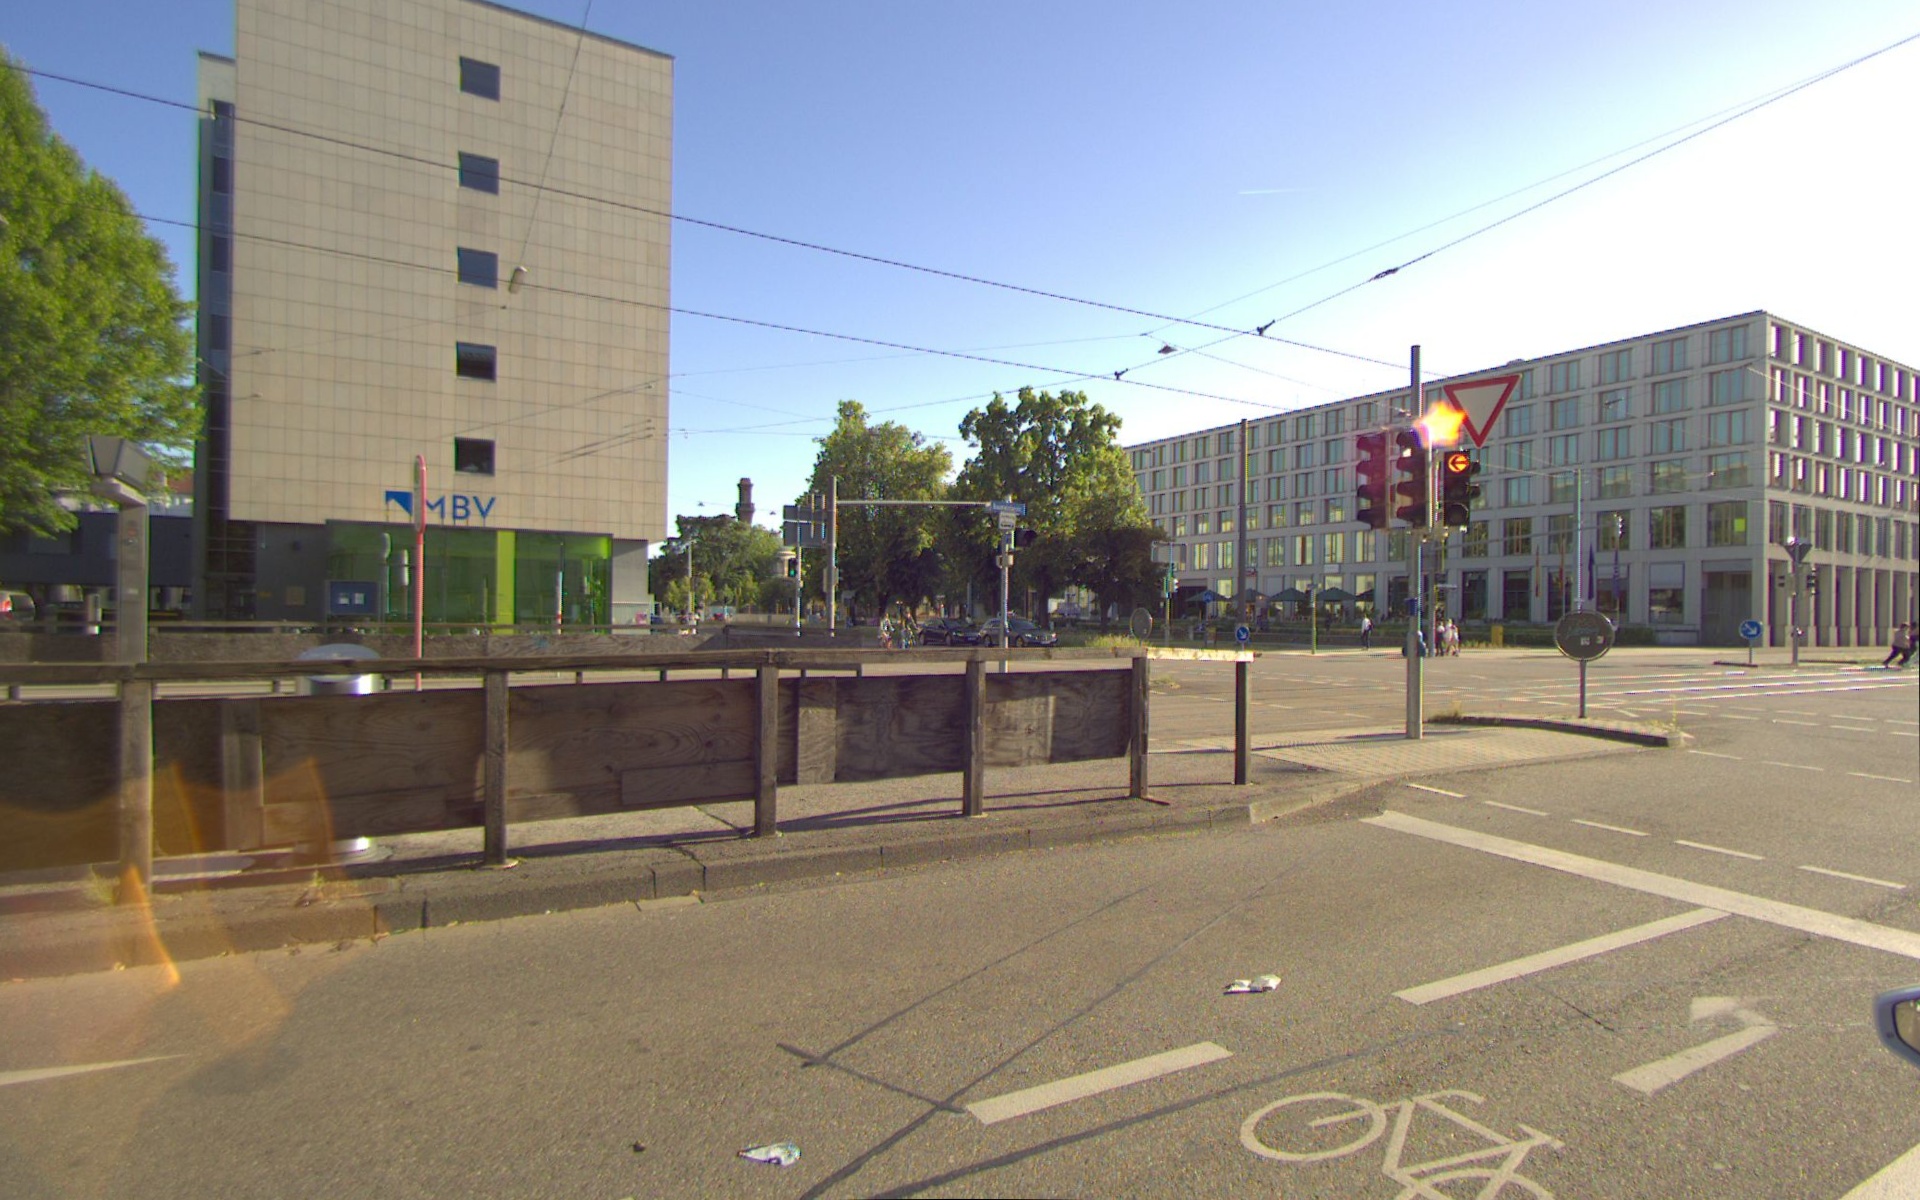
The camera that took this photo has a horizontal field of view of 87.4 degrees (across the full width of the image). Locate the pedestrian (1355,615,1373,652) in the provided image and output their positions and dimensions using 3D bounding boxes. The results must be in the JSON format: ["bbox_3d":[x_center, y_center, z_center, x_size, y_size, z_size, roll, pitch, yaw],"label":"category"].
[{"bbox_3d":[21.200,1.773,52.740,0.672,1.928,0.560,1,-1,-21],"label":"pedestrian"}]

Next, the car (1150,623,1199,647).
[{"bbox_3d":[13.510,2.213,63.282,1.450,1.457,3.177,1,-1,-23],"label":"car"}]

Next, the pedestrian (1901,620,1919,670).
[{"bbox_3d":[33.008,1.554,34.833,0.372,1.685,0.439,1,-1,-30],"label":"pedestrian"}]

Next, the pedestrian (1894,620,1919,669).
[{"bbox_3d":[31.850,1.474,33.419,0.652,1.608,0.980,2,-1,-28],"label":"pedestrian"}]

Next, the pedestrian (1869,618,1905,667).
[{"bbox_3d":[31.980,1.463,34.653,0.526,1.661,0.792,1,-1,-27],"label":"pedestrian"}]

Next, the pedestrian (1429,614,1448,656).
[{"bbox_3d":[23.315,1.688,48.896,0.793,2.040,0.526,1,-1,-36],"label":"pedestrian"}]

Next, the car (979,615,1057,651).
[{"bbox_3d":[2.700,1.532,47.651,1.708,1.595,4.140,1,-1,-31],"label":"car"}]

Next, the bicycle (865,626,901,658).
[{"bbox_3d":[-3.345,1.800,43.386,0.783,1.308,1.840,1,-1,-33],"label":"bicycle"}]

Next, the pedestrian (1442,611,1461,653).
[{"bbox_3d":[24.181,1.550,49.408,0.793,2.040,0.526,1,-1,-36],"label":"pedestrian"}]

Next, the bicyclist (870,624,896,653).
[{"bbox_3d":[-3.340,1.668,43.424,0.788,1.235,0.920,1,-1,-33],"label":"bicyclist"}]

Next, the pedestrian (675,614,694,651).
[{"bbox_3d":[-11.620,1.377,42.353,0.593,1.561,0.620,1,-1,-32],"label":"pedestrian"}]

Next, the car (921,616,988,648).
[{"bbox_3d":[-0.350,1.631,53.044,1.801,1.595,3.967,0,0,-31],"label":"car"}]

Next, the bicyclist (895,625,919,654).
[{"bbox_3d":[-2.326,1.741,44.231,0.788,1.235,0.717,1,-1,-31],"label":"bicyclist"}]

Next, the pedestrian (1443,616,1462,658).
[{"bbox_3d":[24.391,1.824,49.781,0.793,2.040,0.526,1,-1,-36],"label":"pedestrian"}]

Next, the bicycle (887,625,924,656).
[{"bbox_3d":[-2.410,1.759,44.368,0.783,1.308,1.975,1,-1,-31],"label":"bicycle"}]
